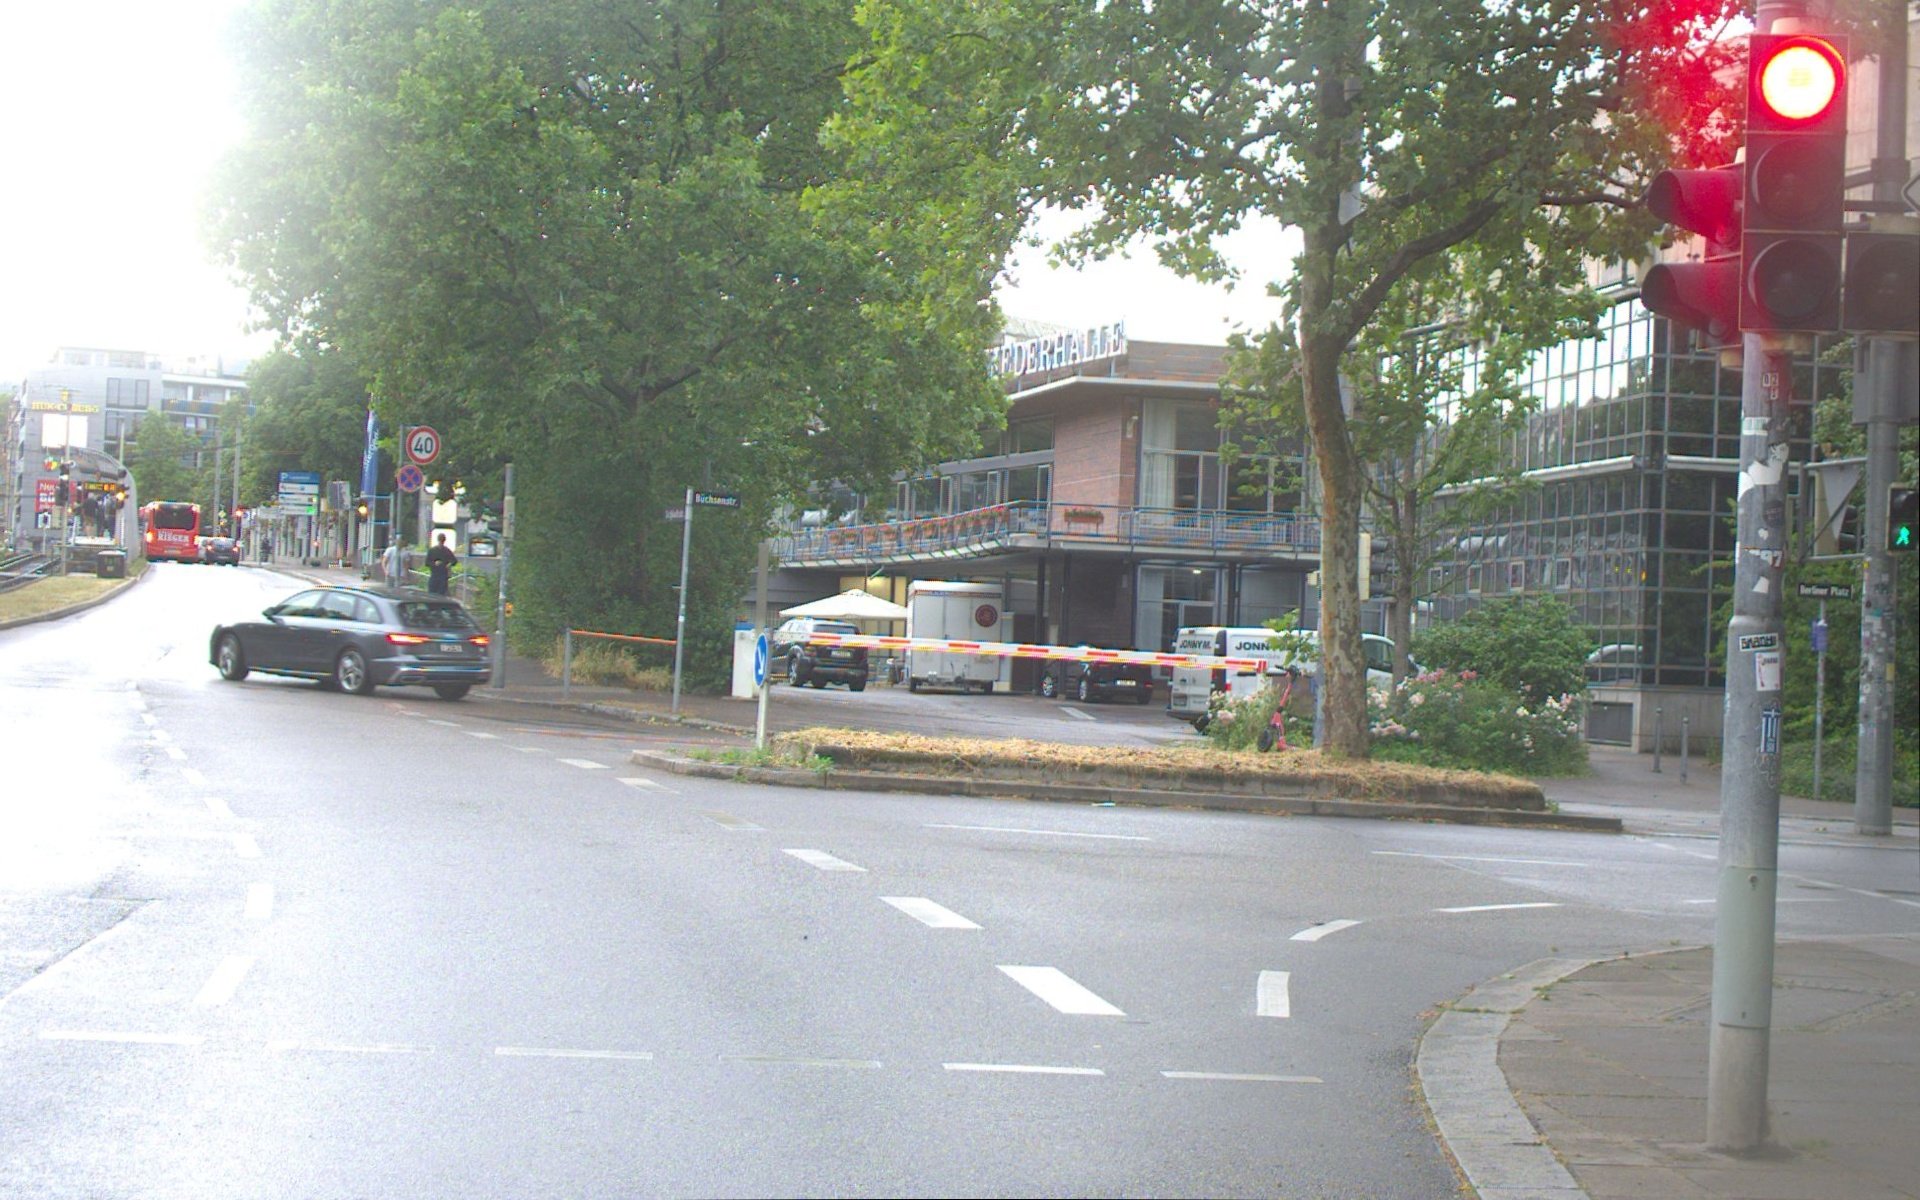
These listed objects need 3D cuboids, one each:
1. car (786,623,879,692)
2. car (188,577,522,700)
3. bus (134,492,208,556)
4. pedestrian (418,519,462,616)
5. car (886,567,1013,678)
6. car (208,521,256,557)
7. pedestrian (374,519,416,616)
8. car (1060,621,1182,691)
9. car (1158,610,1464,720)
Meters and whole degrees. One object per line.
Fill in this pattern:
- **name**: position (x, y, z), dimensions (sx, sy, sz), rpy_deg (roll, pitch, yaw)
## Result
- **car**: position (-3.239, 1.460, 87.953), dimensions (2.019, 1.546, 4.350), rpy_deg (3, 1, 2)
- **car**: position (-8.135, 0.487, 46.063), dimensions (4.346, 1.514, 1.996), rpy_deg (1, 1, 38)
- **bus**: position (-40.497, -3.847, 176.419), dimensions (3.589, 3.160, 10.423), rpy_deg (1, 1, -13)
- **pedestrian**: position (-10.908, -0.679, 72.169), dimensions (0.874, 2.007, 1.077), rpy_deg (1, 0, -8)
- **car**: position (-0.343, 0.546, 91.420), dimensions (2.731, 2.686, 6.923), rpy_deg (3, 1, -5)
- **car**: position (-38.406, -3.193, 181.402), dimensions (2.362, 1.810, 5.185), rpy_deg (1, 1, -13)
- **pedestrian**: position (-11.827, -0.689, 71.935), dimensions (0.814, 2.007, 1.077), rpy_deg (1, 0, -8)
- **car**: position (4.152, 1.437, 89.282), dimensions (2.019, 1.546, 4.351), rpy_deg (3, 1, -13)
- **car**: position (6.363, 1.179, 62.210), dimensions (5.198, 1.725, 1.875), rpy_deg (3, 1, -25)
